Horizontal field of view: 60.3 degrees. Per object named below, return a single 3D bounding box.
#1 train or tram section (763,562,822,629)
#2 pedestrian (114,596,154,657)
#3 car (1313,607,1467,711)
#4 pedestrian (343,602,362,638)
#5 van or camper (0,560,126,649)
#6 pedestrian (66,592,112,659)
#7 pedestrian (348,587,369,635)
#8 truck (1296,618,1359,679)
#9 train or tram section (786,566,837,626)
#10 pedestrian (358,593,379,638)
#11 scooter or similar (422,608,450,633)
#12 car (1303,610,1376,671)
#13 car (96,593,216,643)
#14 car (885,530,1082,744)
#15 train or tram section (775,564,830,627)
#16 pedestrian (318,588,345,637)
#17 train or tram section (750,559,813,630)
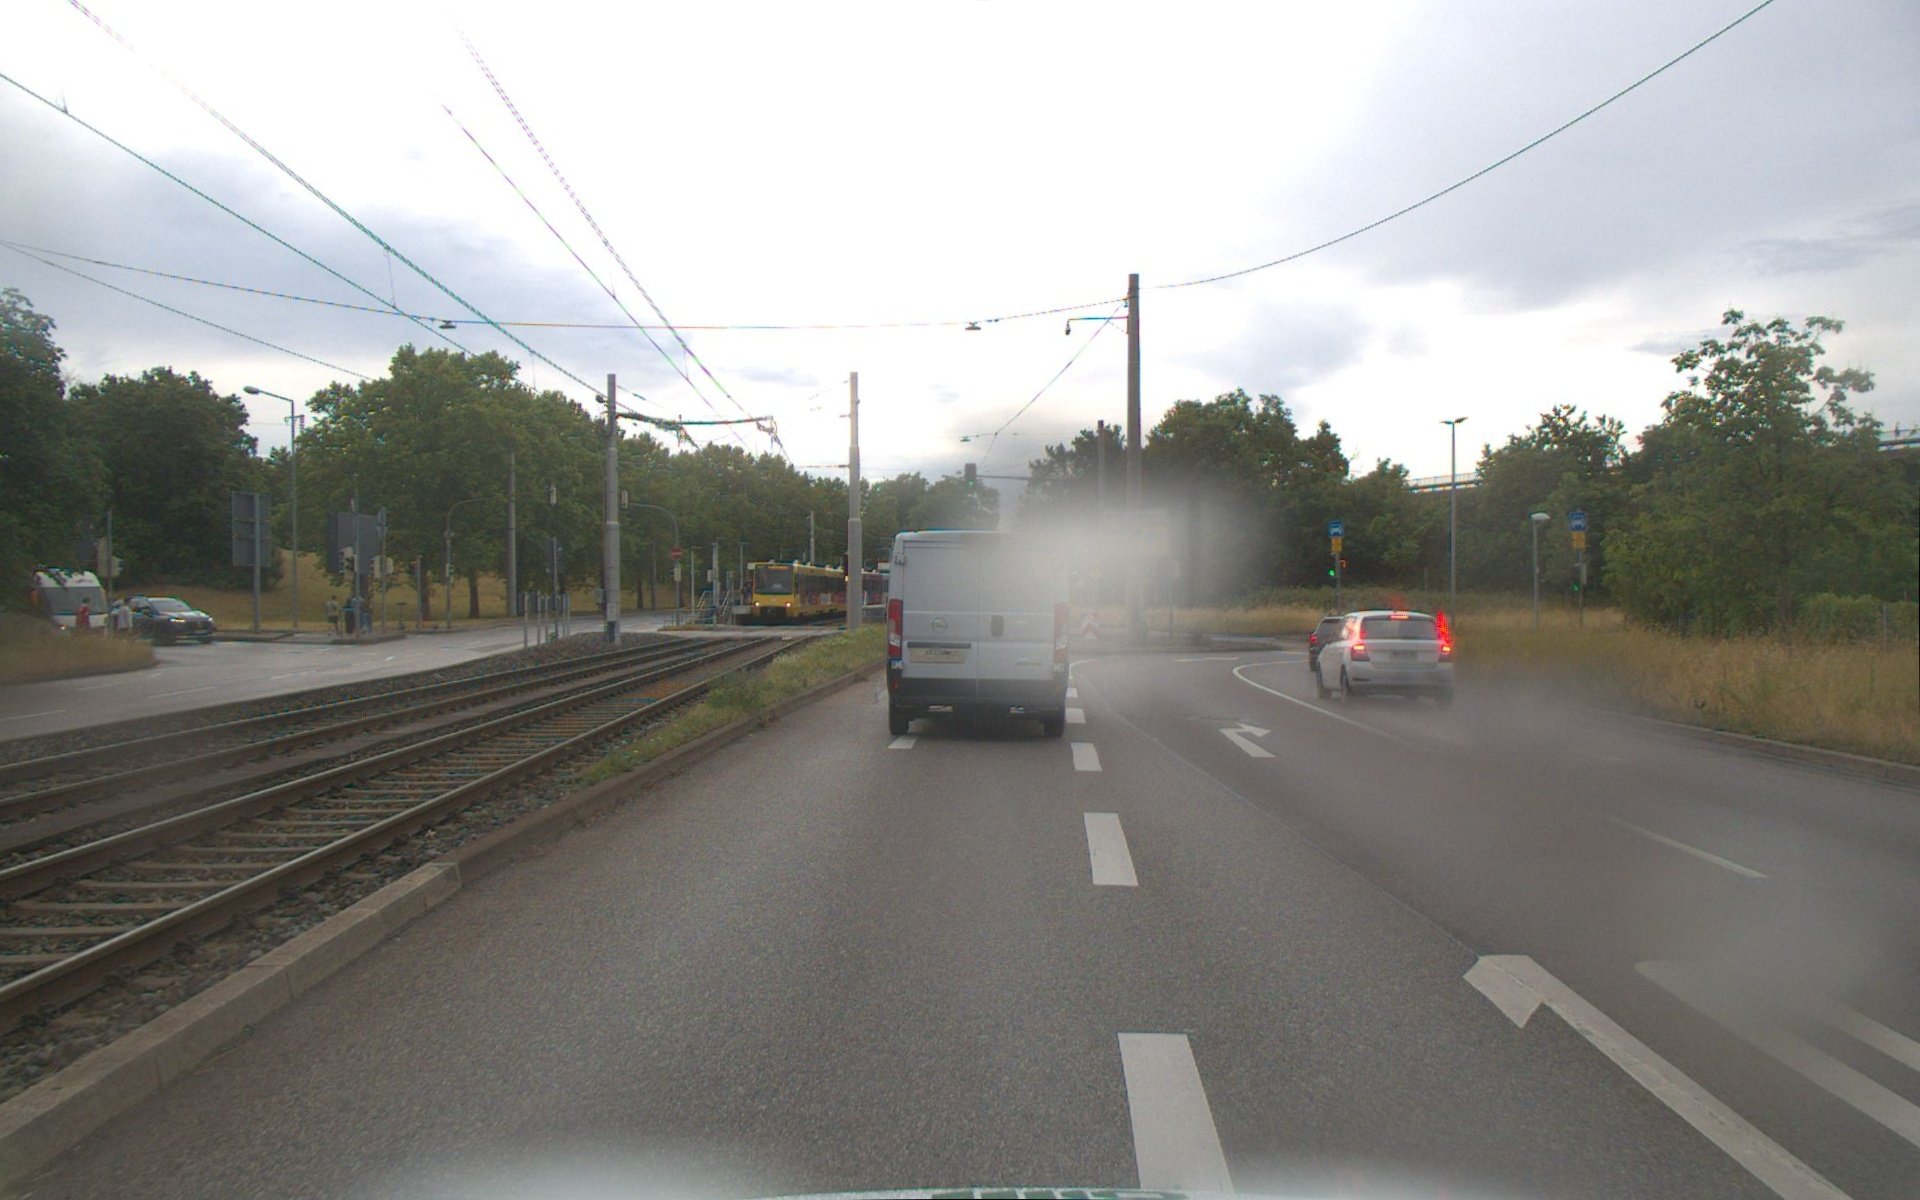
[{"bbox_3d":[-10.533,-0.287,104.758,2.868,4.001,7.005,2,0,0],"label":"train or tram section"},{"bbox_3d":[-25.861,0.823,51.790,0.622,1.900,0.952,-1,0,30],"label":"pedestrian"},{"bbox_3d":[6.747,0.877,26.297,1.710,1.483,3.673,1,0,4],"label":"car"},{"bbox_3d":[-25.854,0.860,70.350,0.485,1.499,0.722,2,0,0],"label":"pedestrian"},{"bbox_3d":[-33.289,0.114,59.612,7.220,3.019,2.484,0,1,33],"label":"van or camper"},{"bbox_3d":[-26.978,0.776,51.237,0.870,2.049,0.944,0,0,27],"label":"pedestrian"},{"bbox_3d":[-24.909,0.457,68.515,0.485,1.990,0.722,2,0,2],"label":"pedestrian"},{"bbox_3d":[12.197,1.574,54.942,1.951,1.822,4.418,-1,0,12],"label":"truck"},{"bbox_3d":[-10.494,-0.271,117.379,2.868,4.001,7.005,2,0,0],"label":"train or tram section"},{"bbox_3d":[-24.477,0.630,68.432,0.496,1.818,0.832,2,0,3],"label":"pedestrian"},{"bbox_3d":[-25.488,0.985,80.411,0.374,1.182,1.272,0,1,43],"label":"scooter or similar"},{"bbox_3d":[9.787,1.006,42.793,1.751,1.474,4.003,1,0,12],"label":"car"},{"bbox_3d":[-30.299,0.642,62.311,4.532,1.763,1.995,1,1,32],"label":"car"},{"bbox_3d":[0.182,0.377,20.149,2.048,2.235,5.059,1,0,-2],"label":"car"},{"bbox_3d":[-10.516,-0.279,111.004,2.868,4.001,7.005,2,0,0],"label":"train or tram section"},{"bbox_3d":[-26.619,0.521,70.106,0.870,2.049,0.864,0,0,-7],"label":"pedestrian"},{"bbox_3d":[-10.571,-0.295,98.495,2.868,4.001,7.005,2,0,0],"label":"train or tram section"}]
